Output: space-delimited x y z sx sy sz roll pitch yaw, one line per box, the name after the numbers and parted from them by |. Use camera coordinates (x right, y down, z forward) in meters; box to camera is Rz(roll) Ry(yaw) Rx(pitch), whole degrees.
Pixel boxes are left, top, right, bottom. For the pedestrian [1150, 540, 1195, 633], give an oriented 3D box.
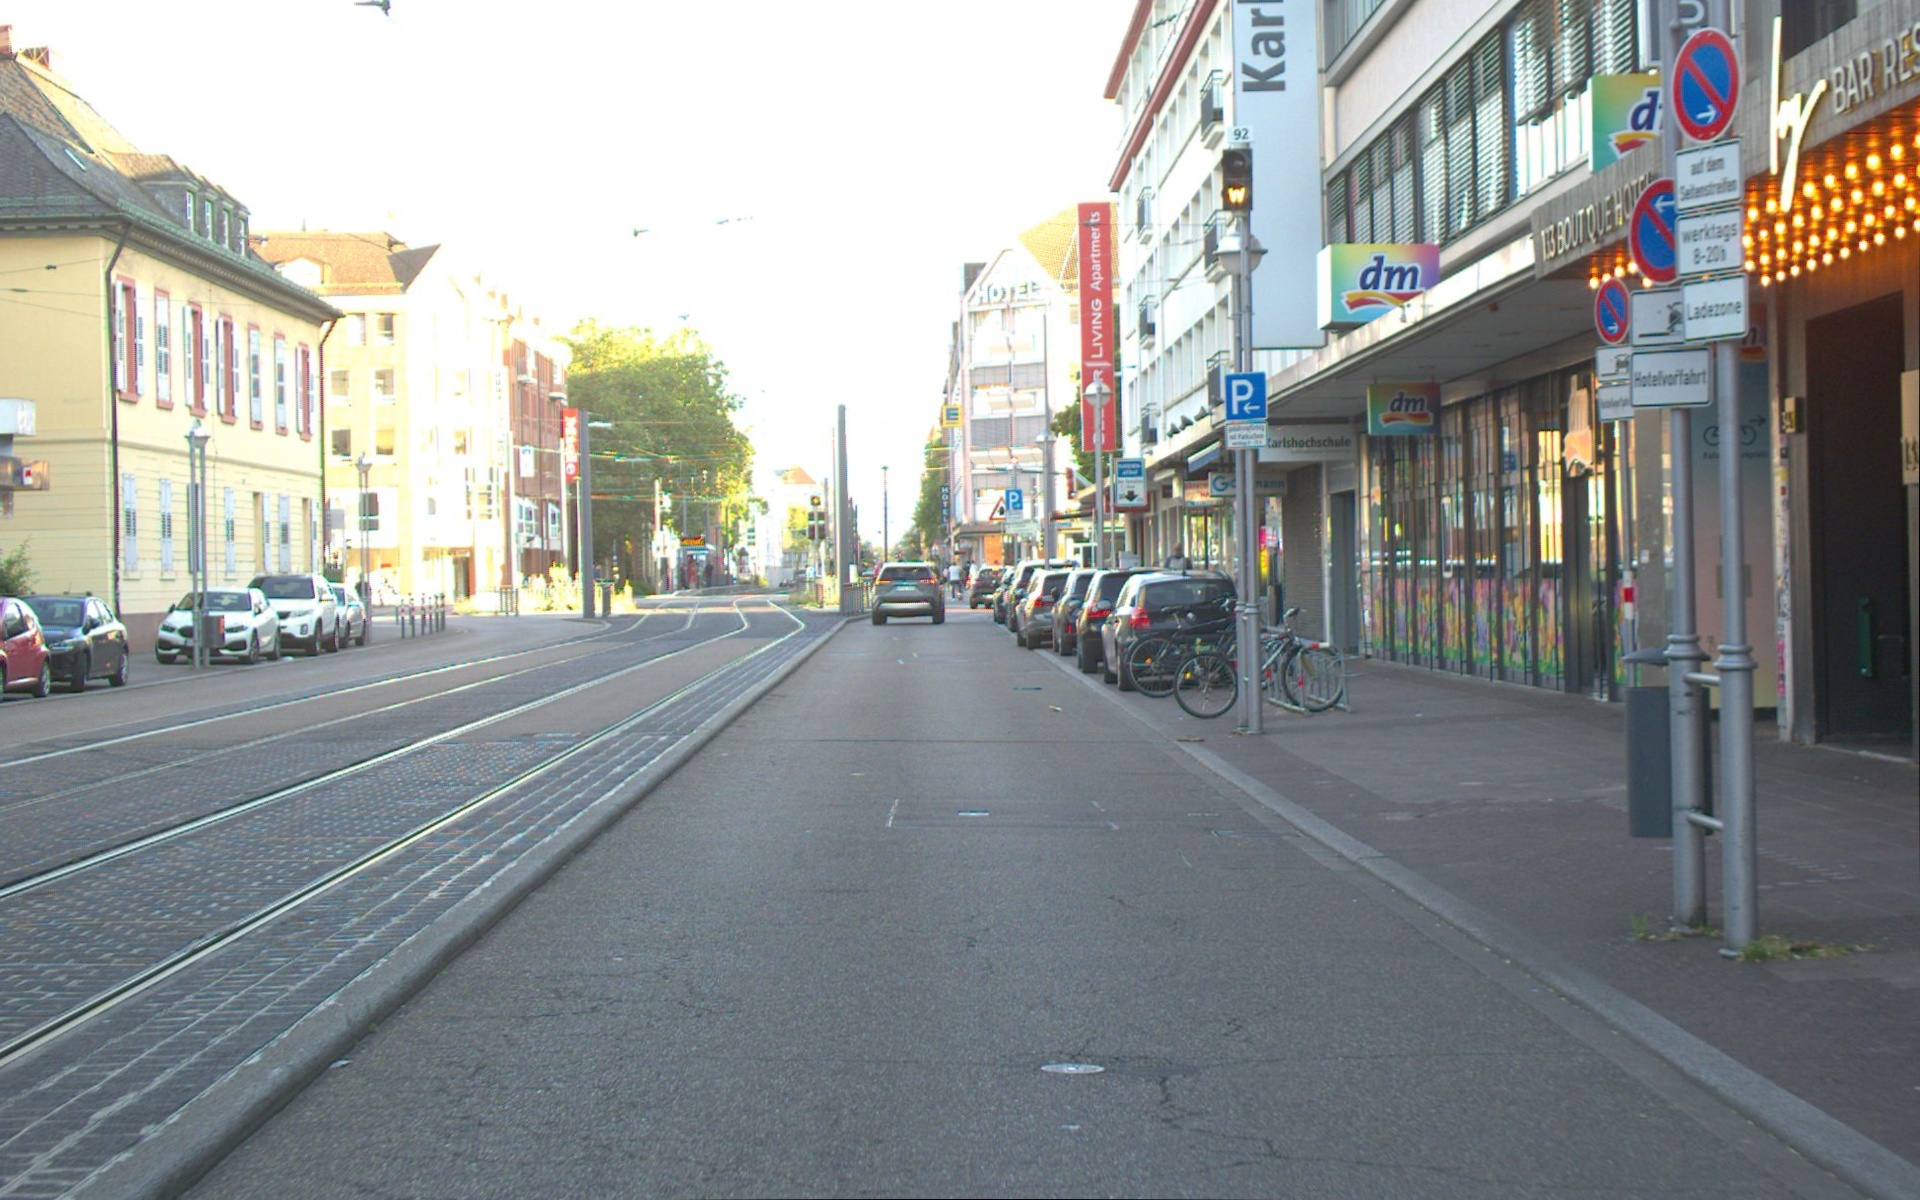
4.342 -0.272 70.402 0.774 1.874 0.935 -2 0 -2 | pedestrian

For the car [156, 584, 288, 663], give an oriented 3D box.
-14.284 0.430 66.744 1.721 1.448 4.283 1 1 -1 | car

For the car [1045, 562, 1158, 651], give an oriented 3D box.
2.401 0.107 59.181 1.726 1.476 4.000 1 0 -1 | car

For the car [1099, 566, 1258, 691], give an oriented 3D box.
2.665 0.332 42.685 1.654 1.458 4.023 1 0 -1 | car

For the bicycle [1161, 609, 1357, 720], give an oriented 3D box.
2.919 0.626 33.639 1.794 0.969 0.576 -3 0 -4 | bicycle

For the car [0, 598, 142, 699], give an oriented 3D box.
-13.832 0.712 52.688 1.692 1.420 3.965 1 1 -1 | car

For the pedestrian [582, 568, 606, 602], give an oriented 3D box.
-15.003 -0.606 140.795 0.903 1.370 0.854 -1 0 -3 | pedestrian

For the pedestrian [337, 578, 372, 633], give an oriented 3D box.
-17.124 0.153 97.220 0.799 1.536 0.877 1 0 1 | pedestrian

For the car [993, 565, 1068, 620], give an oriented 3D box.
1.838 -0.192 91.037 1.790 1.408 4.687 1 0 -1 | car

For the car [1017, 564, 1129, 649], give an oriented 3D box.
2.091 0.122 64.888 1.791 1.528 4.857 1 0 -2 | car

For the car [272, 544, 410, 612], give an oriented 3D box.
-19.282 -0.674 107.029 3.986 2.007 2.001 -1 0 -17 | car

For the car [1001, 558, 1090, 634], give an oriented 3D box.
1.952 -0.099 79.677 1.856 1.695 4.418 1 0 -1 | car

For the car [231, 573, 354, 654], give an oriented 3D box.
-14.111 0.259 72.942 1.886 1.655 4.762 1 0 -3 | car

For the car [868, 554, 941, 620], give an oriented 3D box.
-1.478 -0.342 92.826 1.835 1.631 4.090 -2 -1 0 | car

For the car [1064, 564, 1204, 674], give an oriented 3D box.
2.484 0.266 49.857 1.765 1.508 4.072 1 0 -1 | car

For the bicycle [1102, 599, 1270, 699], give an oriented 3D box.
2.583 0.555 39.430 1.839 1.106 0.642 -1 0 -4 | bicycle

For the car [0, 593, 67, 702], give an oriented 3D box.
-13.680 0.646 47.700 1.691 1.429 3.592 -1 1 -1 | car
